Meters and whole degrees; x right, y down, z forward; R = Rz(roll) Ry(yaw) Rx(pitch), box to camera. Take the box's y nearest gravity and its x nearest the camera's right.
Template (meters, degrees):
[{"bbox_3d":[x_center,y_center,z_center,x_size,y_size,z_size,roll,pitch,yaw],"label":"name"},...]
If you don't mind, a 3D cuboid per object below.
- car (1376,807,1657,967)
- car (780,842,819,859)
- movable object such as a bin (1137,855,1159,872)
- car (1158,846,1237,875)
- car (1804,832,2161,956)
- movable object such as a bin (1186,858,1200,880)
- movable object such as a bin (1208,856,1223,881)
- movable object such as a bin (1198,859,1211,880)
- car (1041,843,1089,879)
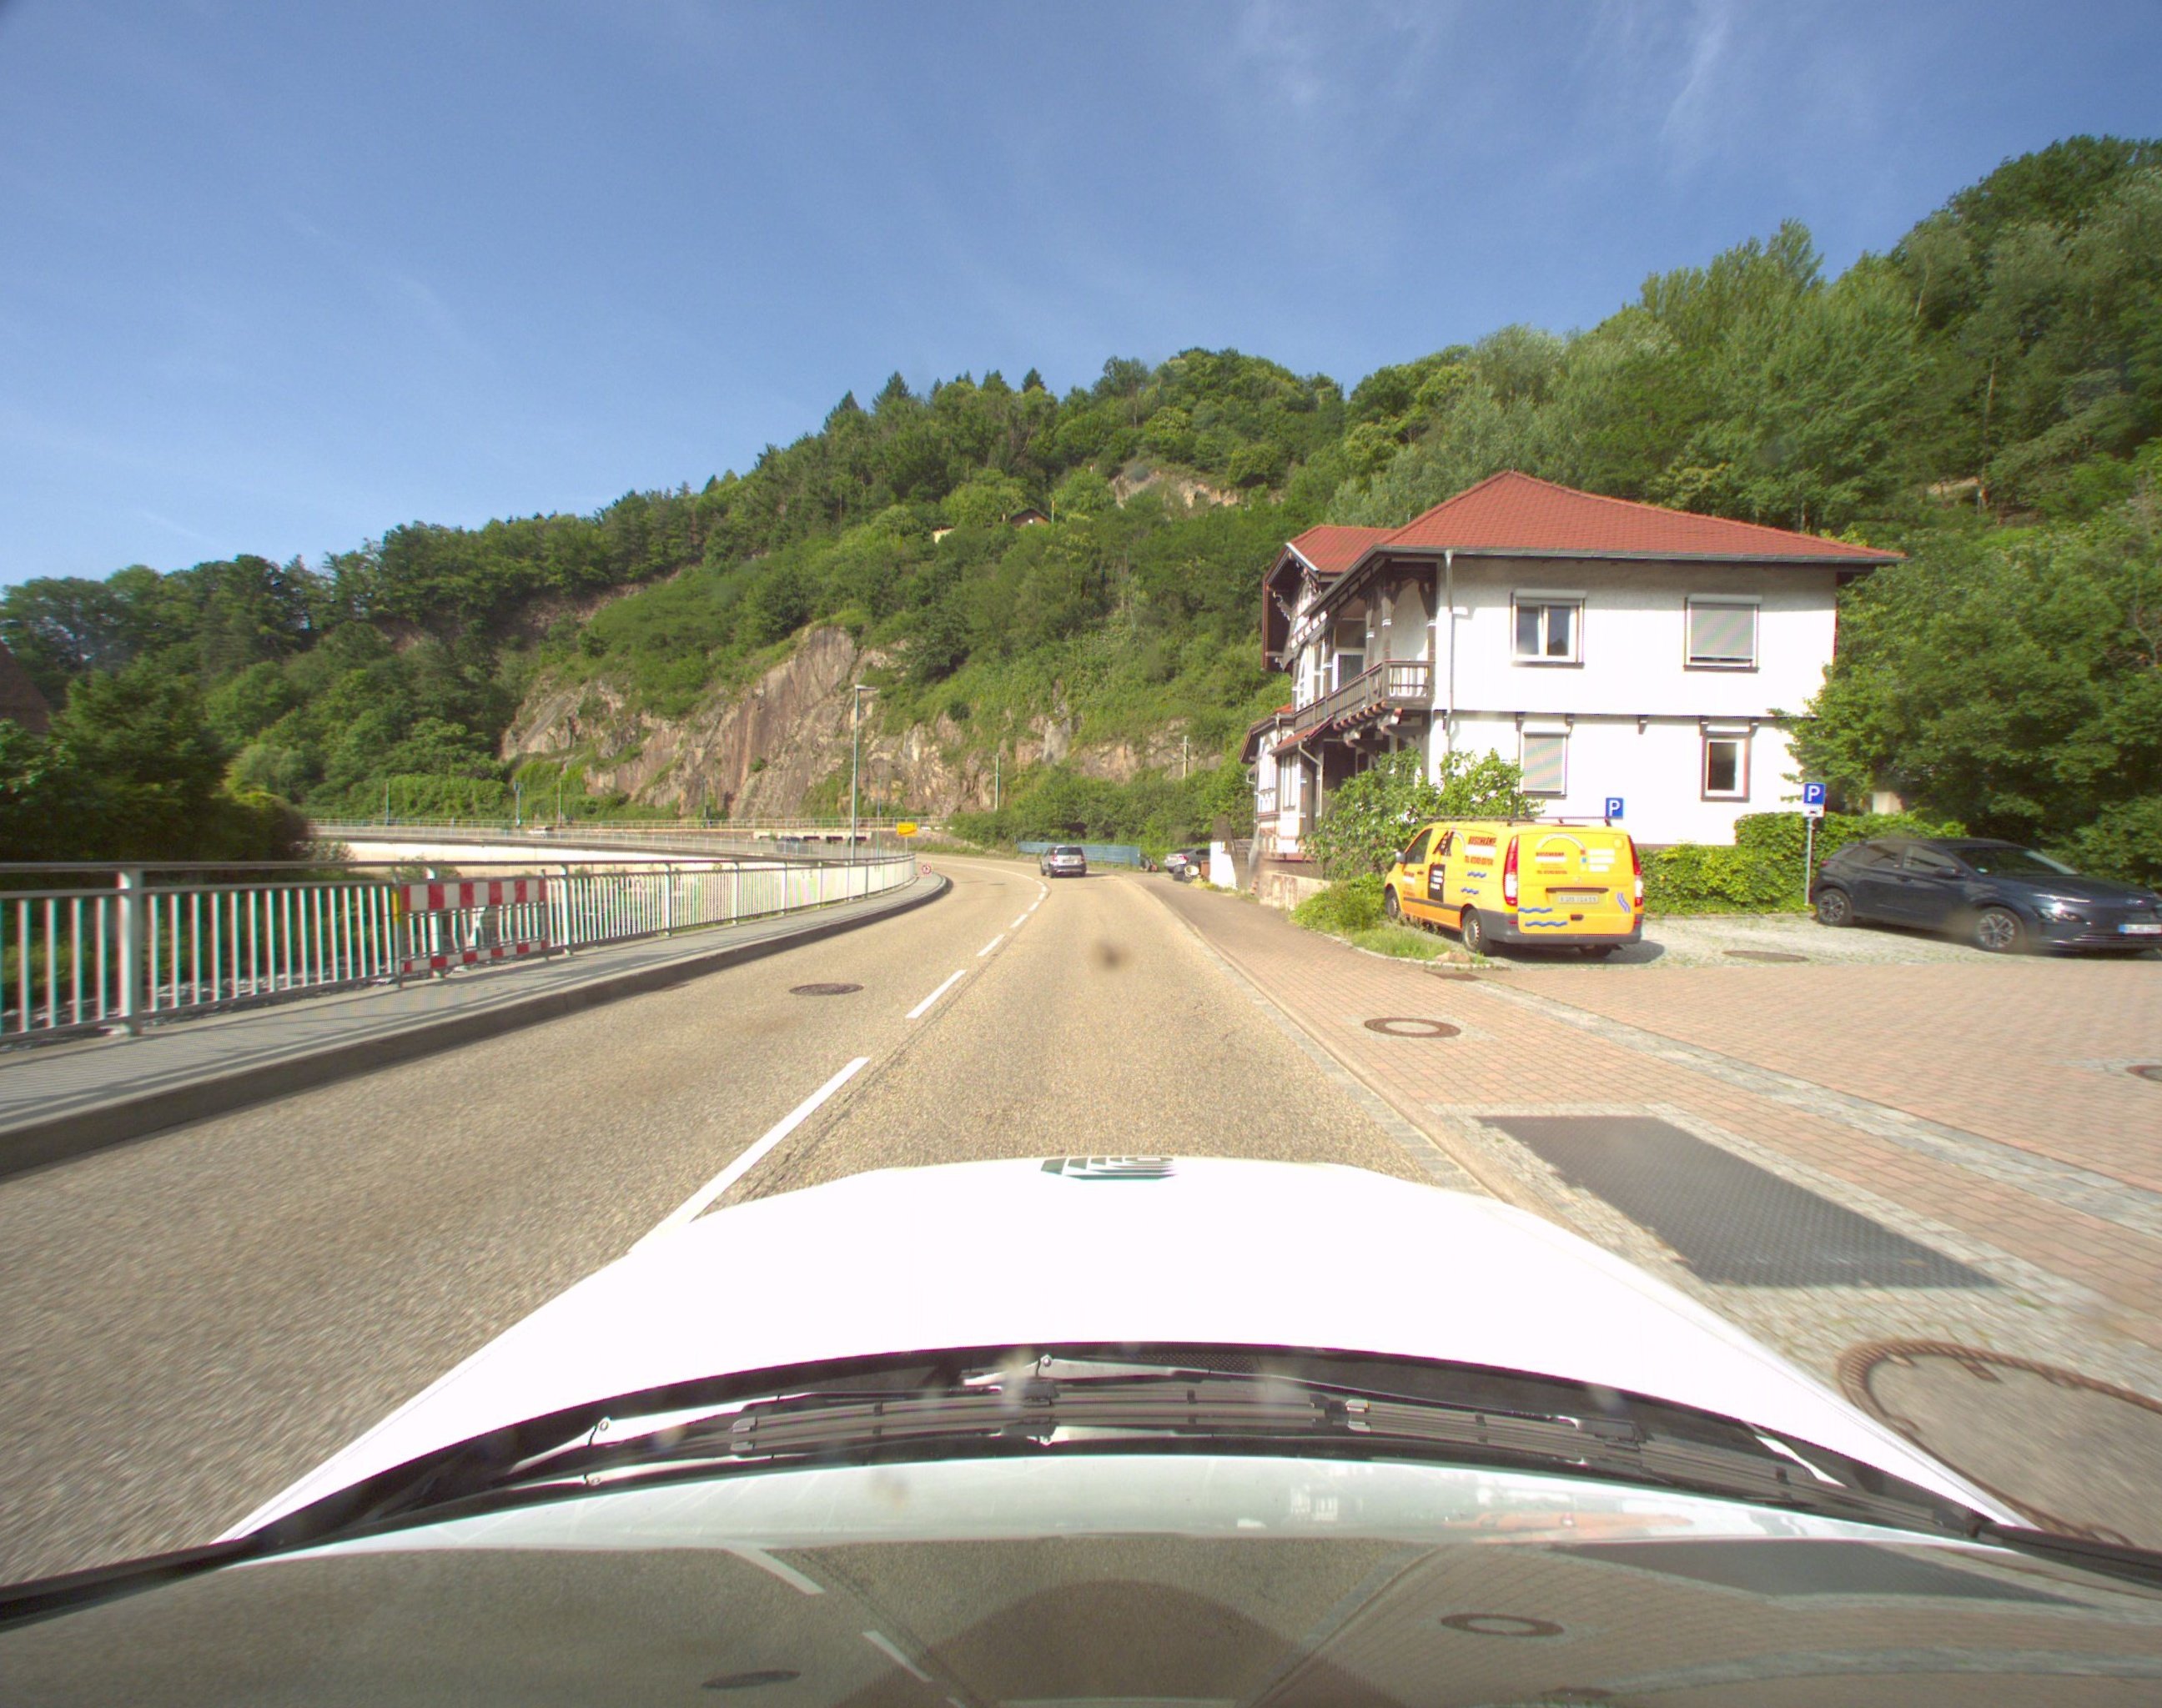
[{"bbox_3d":[6.329,0.394,12.611,1.901,1.997,4.837,0,0,2],"label":"car"},{"bbox_3d":[-27.397,-0.368,79.140,3.949,1.643,1.832,1,0,41],"label":"car"},{"bbox_3d":[3.674,0.521,44.903,0.853,0.847,2.536,2,1,-3],"label":"movable object such as a bin"},{"bbox_3d":[6.284,0.332,43.821,4.352,1.469,1.816,0,0,-41],"label":"car"},{"bbox_3d":[13.756,0.491,12.532,1.744,1.579,4.161,-1,0,4],"label":"car"},{"bbox_3d":[4.935,0.654,35.874,0.470,0.936,0.652,2,1,-3],"label":"movable object such as a bin"},{"bbox_3d":[5.896,0.618,35.765,0.476,1.062,0.752,2,1,-3],"label":"movable object such as a bin"},{"bbox_3d":[5.429,0.692,35.791,0.367,0.900,0.545,1,1,-9],"label":"movable object such as a bin"},{"bbox_3d":[-0.873,0.303,41.085,1.872,1.655,3.988,-2,1,-9],"label":"car"}]
